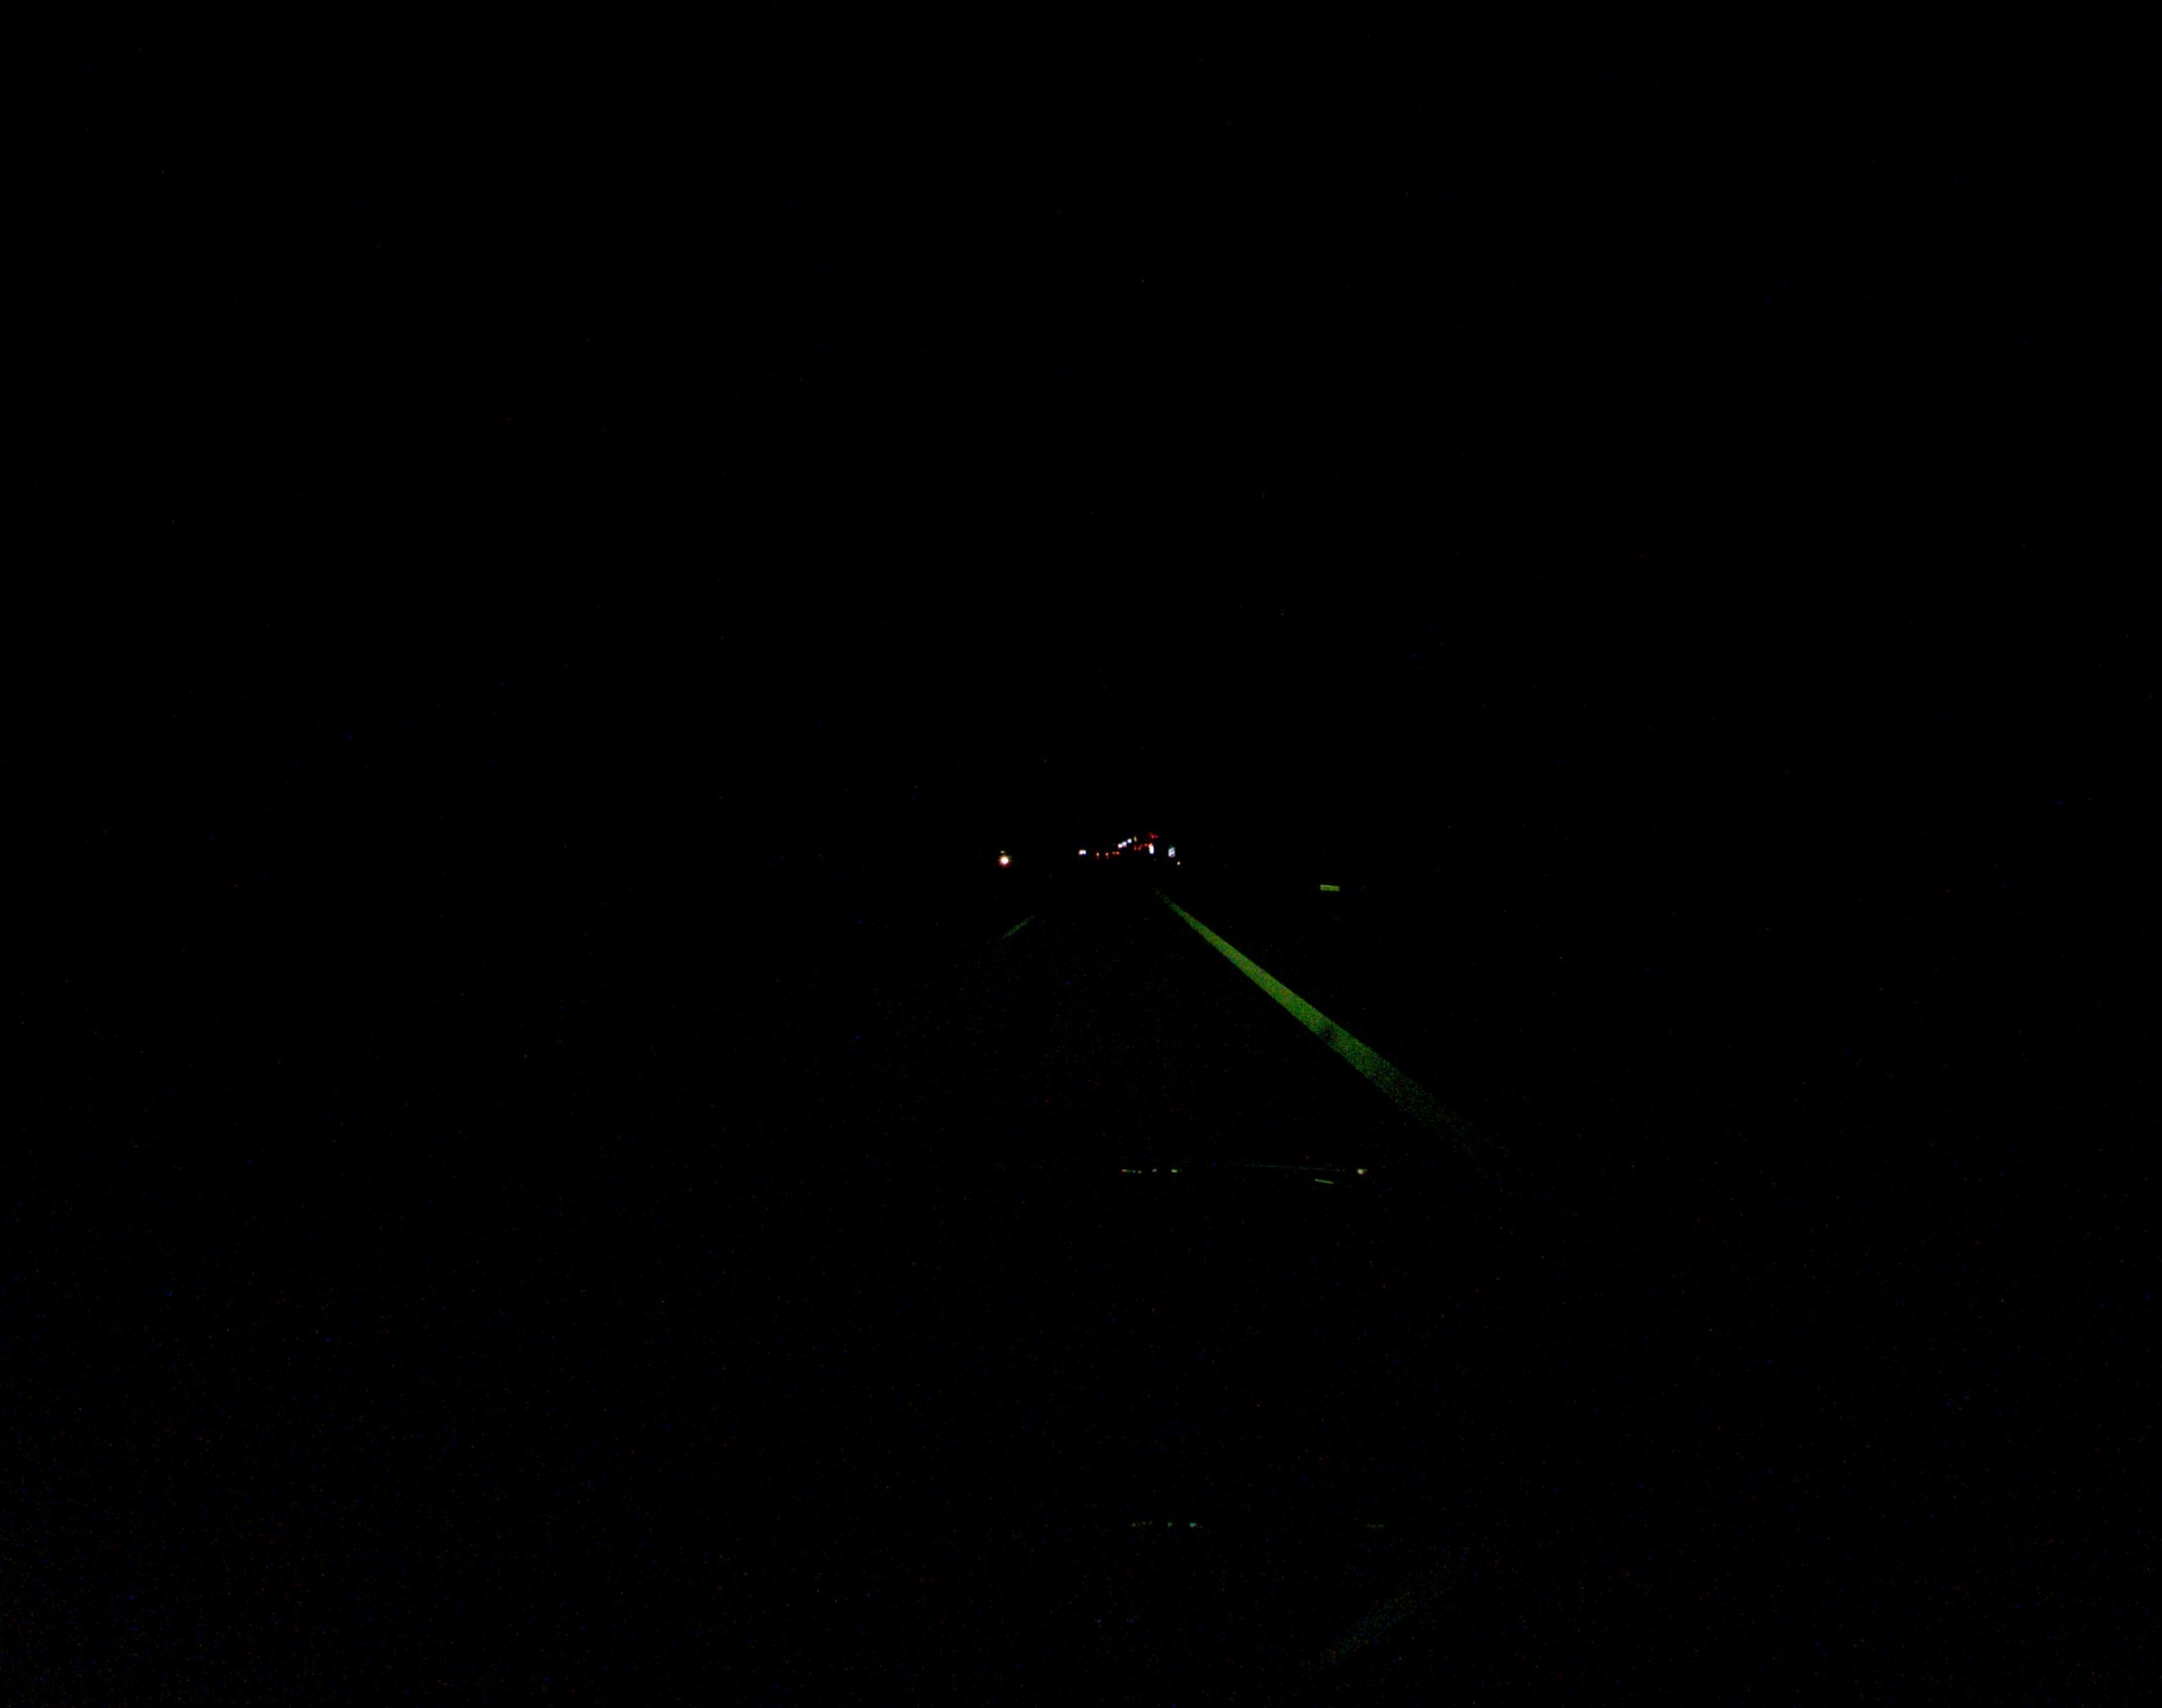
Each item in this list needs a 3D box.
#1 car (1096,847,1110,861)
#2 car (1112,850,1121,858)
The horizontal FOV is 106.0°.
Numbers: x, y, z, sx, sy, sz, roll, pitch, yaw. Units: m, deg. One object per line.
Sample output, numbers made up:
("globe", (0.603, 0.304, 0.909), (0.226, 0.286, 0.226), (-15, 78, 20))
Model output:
("car", (4.405, 0.096, 165.123), (2.776, 2.733, 6.301), (-1, 0, 1))
("car", (11.551, -0.007, 262.906), (2.775, 2.733, 6.303), (-1, 0, 3))
